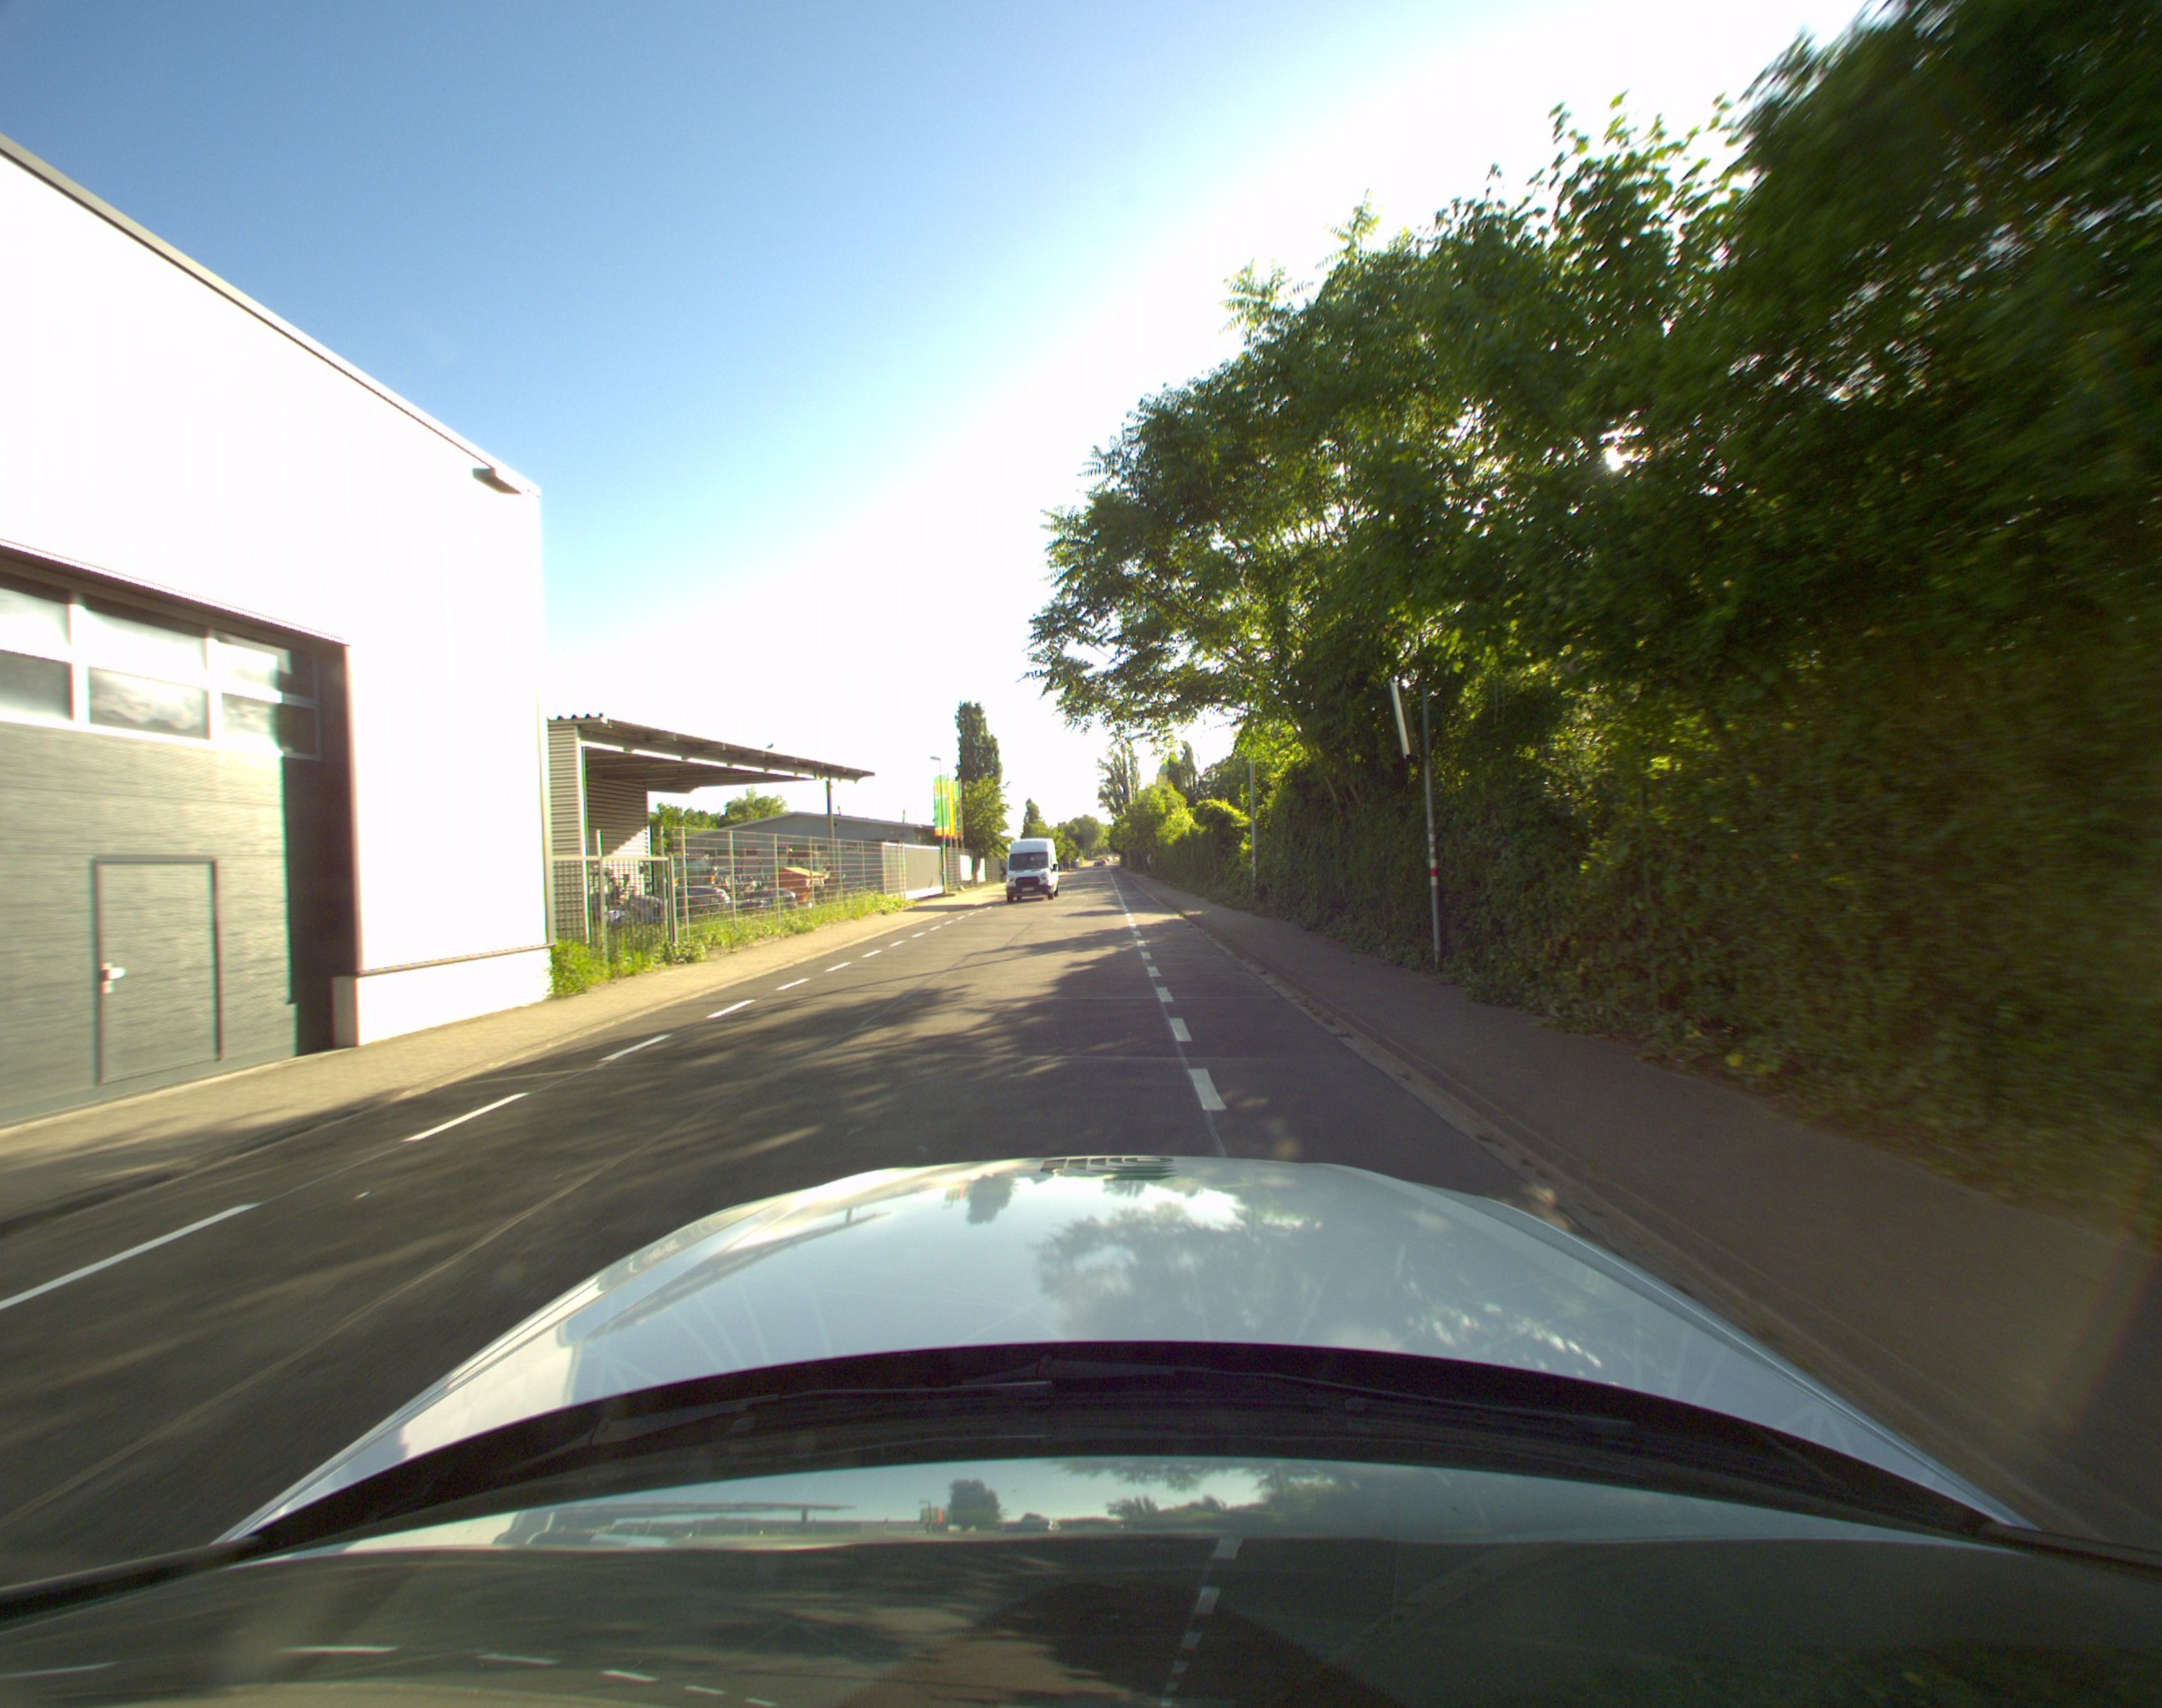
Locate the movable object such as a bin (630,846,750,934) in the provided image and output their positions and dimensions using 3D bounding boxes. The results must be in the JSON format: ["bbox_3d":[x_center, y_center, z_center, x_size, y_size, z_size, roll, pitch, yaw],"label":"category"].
[{"bbox_3d":[-10.433,0.964,21.732,2.737,2.165,1.533,-3,0,31],"label":"movable object such as a bin"}]

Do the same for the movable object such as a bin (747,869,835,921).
[{"bbox_3d":[-10.722,1.500,30.275,2.629,1.680,1.525,-3,0,-1],"label":"movable object such as a bin"}]

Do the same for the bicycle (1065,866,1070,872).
[{"bbox_3d":[-2.404,2.653,143.432,0.686,1.034,1.351,-2,-1,1],"label":"bicycle"}]

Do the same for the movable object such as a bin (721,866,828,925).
[{"bbox_3d":[-10.607,1.416,28.347,3.030,1.835,1.525,-3,0,-1],"label":"movable object such as a bin"}]

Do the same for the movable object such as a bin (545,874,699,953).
[{"bbox_3d":[-10.834,1.388,19.199,3.361,1.613,1.636,-3,0,31],"label":"movable object such as a bin"}]

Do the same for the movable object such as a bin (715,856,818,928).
[{"bbox_3d":[-10.201,1.236,26.424,2.853,2.149,1.509,-3,0,28],"label":"movable object such as a bin"}]

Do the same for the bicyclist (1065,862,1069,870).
[{"bbox_3d":[-2.413,2.100,143.469,0.687,1.532,0.722,-1,-1,1],"label":"bicyclist"}]

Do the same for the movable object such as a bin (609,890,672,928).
[{"bbox_3d":[-18.177,2.244,33.712,1.163,1.331,2.634,-3,0,-1],"label":"movable object such as a bin"}]

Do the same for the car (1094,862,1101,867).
[{"bbox_3d":[5.038,3.213,251.531,1.935,1.651,4.311,-2,-1,2],"label":"car"}]

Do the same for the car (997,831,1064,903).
[{"bbox_3d":[-2.165,0.570,36.713,2.114,2.780,5.930,-5,-1,3],"label":"car"}]

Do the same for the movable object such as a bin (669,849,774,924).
[{"bbox_3d":[-11.021,0.988,24.986,2.765,2.126,1.393,-3,0,26],"label":"movable object such as a bin"}]
